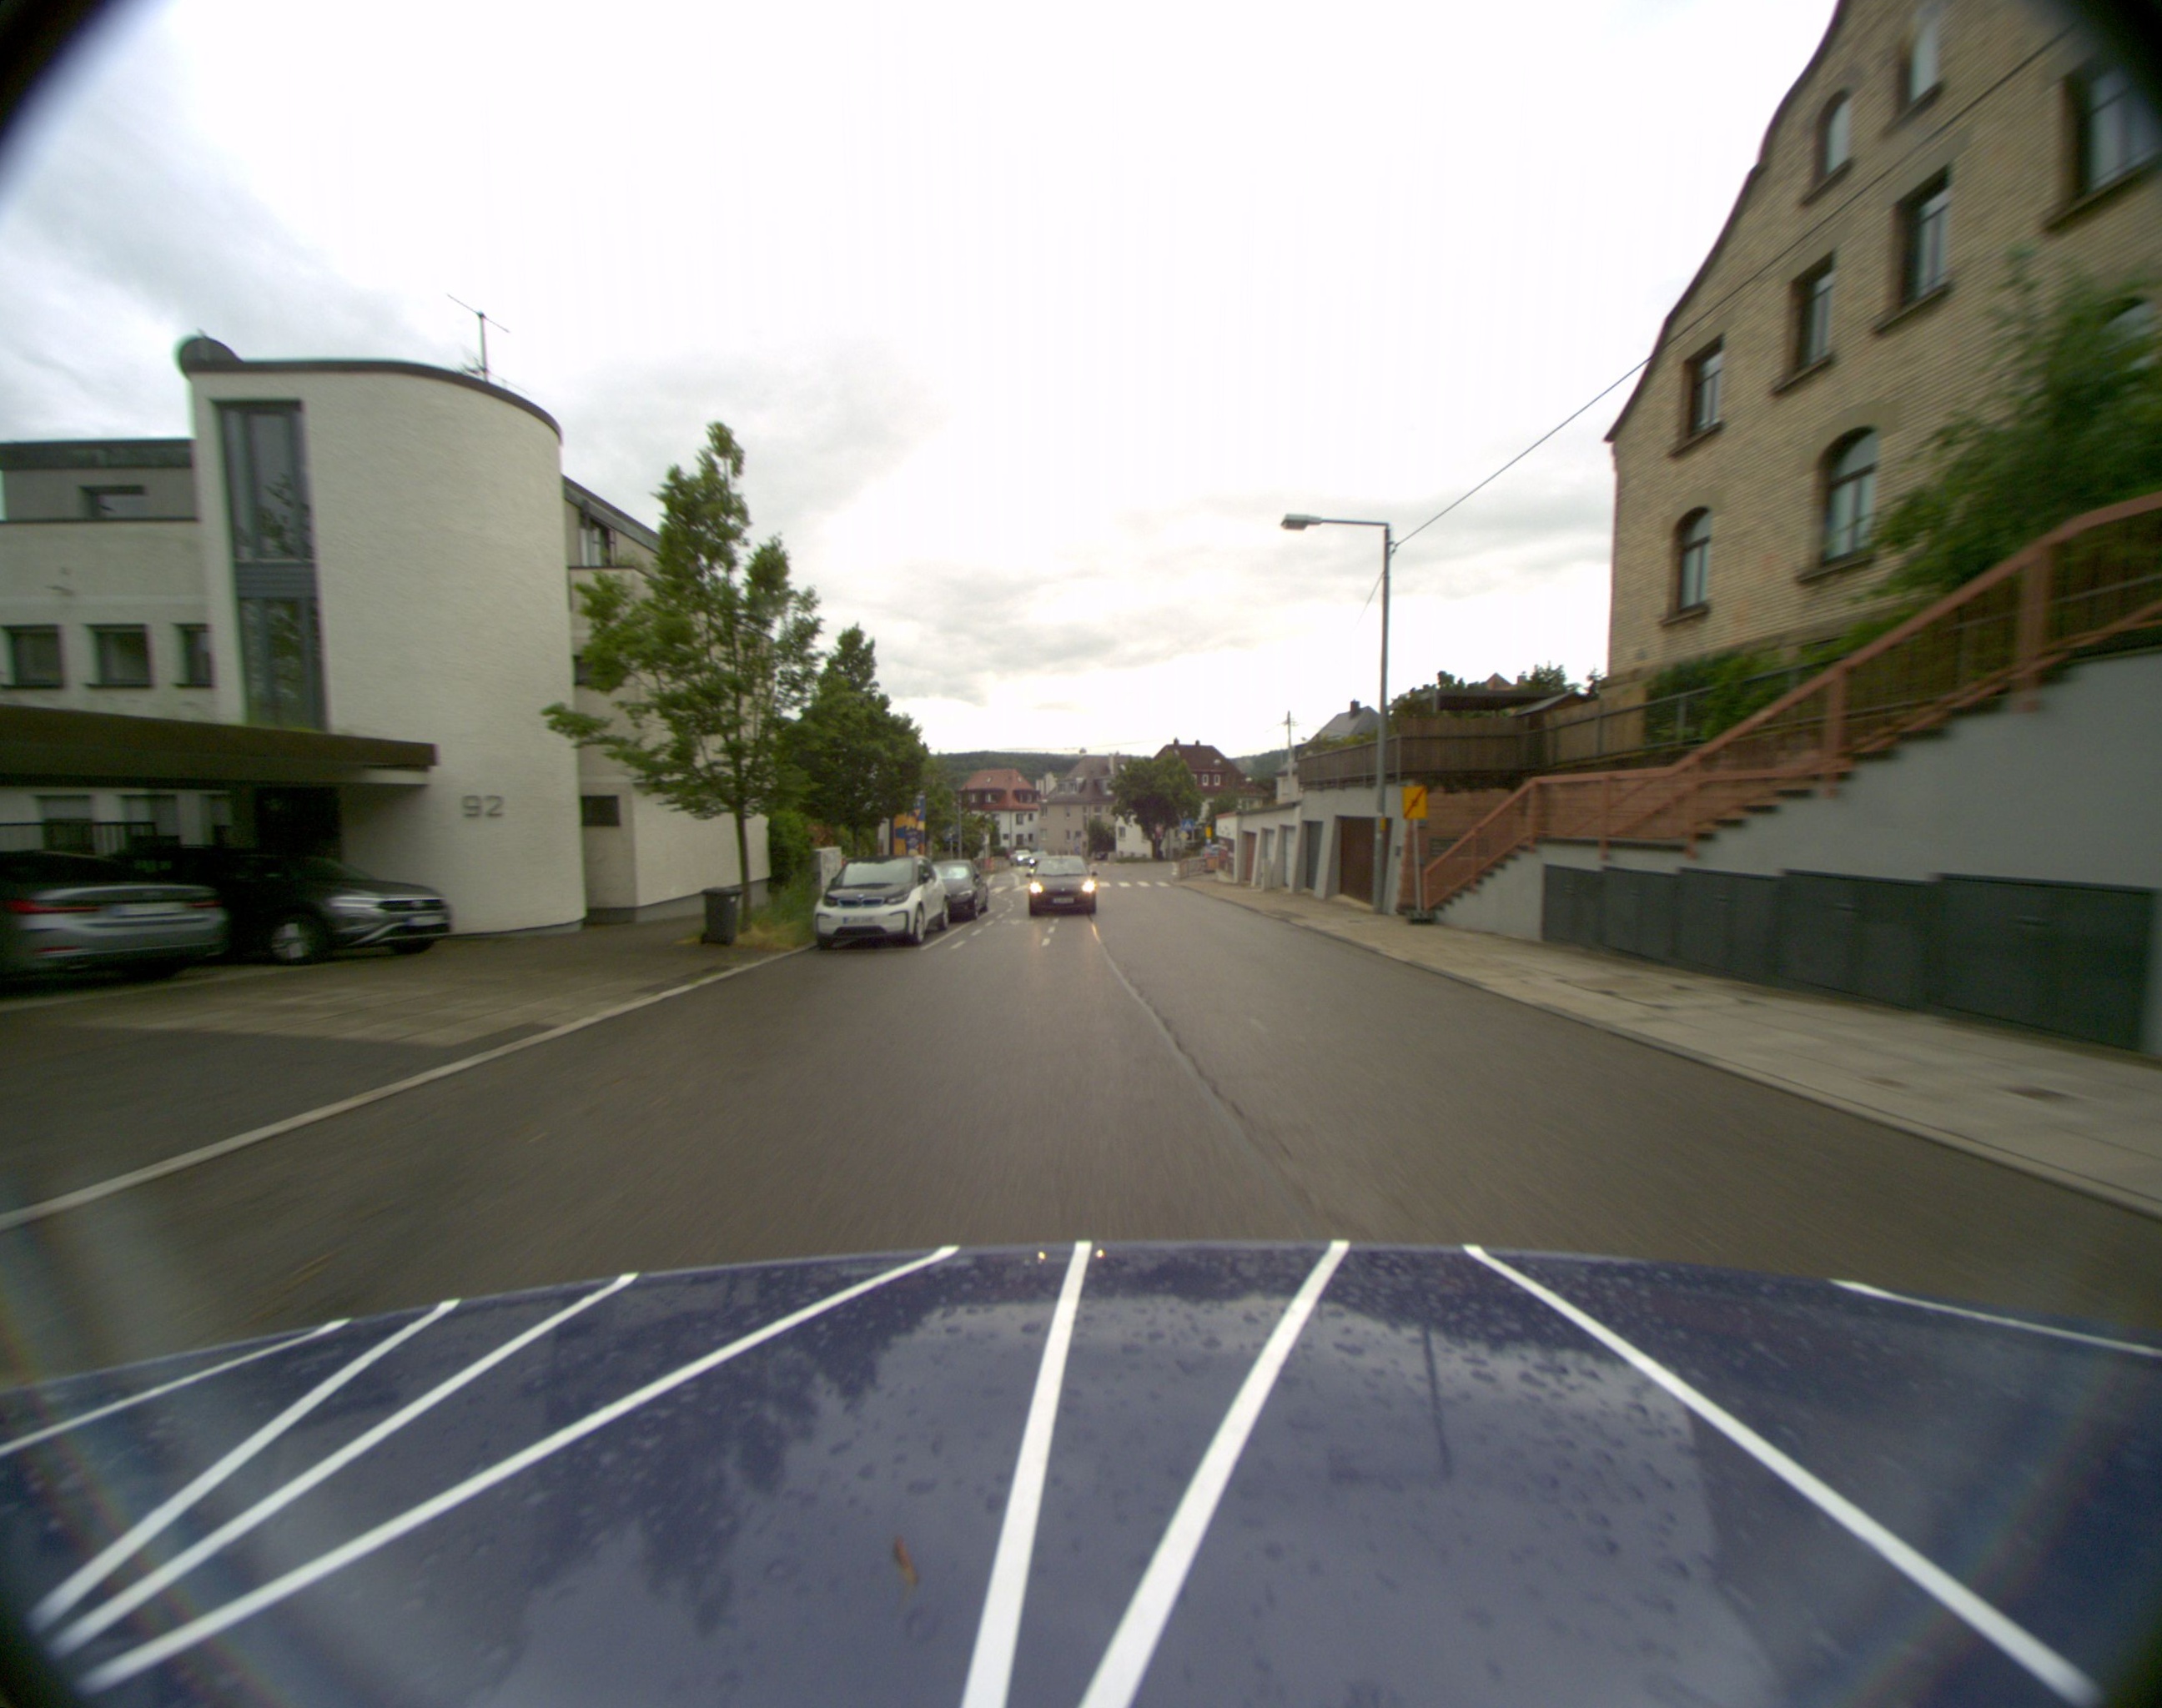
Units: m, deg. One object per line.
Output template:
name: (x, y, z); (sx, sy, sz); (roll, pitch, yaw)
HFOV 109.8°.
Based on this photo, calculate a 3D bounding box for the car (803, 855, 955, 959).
car: (-3.606, 0.861, 14.364); (1.734, 1.598, 4.119); (-3, 0, 0)

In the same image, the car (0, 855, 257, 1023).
car: (-11.420, 0.817, 7.641); (4.308, 1.471, 1.831); (-2, 0, 2)

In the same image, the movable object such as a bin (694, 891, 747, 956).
movable object such as a bin: (-5.845, 1.111, 12.347); (0.486, 0.969, 0.605); (3, 1, 7)

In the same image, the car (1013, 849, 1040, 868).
car: (-5.809, 0.448, 80.980); (2.018, 1.892, 4.088); (-1, 0, -17)

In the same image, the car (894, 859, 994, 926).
car: (-3.377, 0.886, 19.641); (1.783, 1.430, 4.880); (-2, 0, -2)

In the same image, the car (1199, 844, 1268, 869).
car: (10.803, 0.171, 54.040); (4.484, 1.479, 1.998); (-2, 4, -1)

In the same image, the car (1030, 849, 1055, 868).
car: (-3.321, 0.374, 66.154); (1.857, 1.575, 4.000); (-1, 0, 0)

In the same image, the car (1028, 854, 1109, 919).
car: (-0.273, 0.779, 20.163); (1.892, 1.521, 4.057); (-1, 0, 0)

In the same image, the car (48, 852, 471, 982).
car: (-10.659, 0.773, 10.074); (3.709, 1.498, 1.782); (-1, 0, 2)

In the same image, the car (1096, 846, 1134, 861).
car: (4.084, -0.105, 91.912); (4.226, 1.663, 1.875); (-2, 1, -21)
